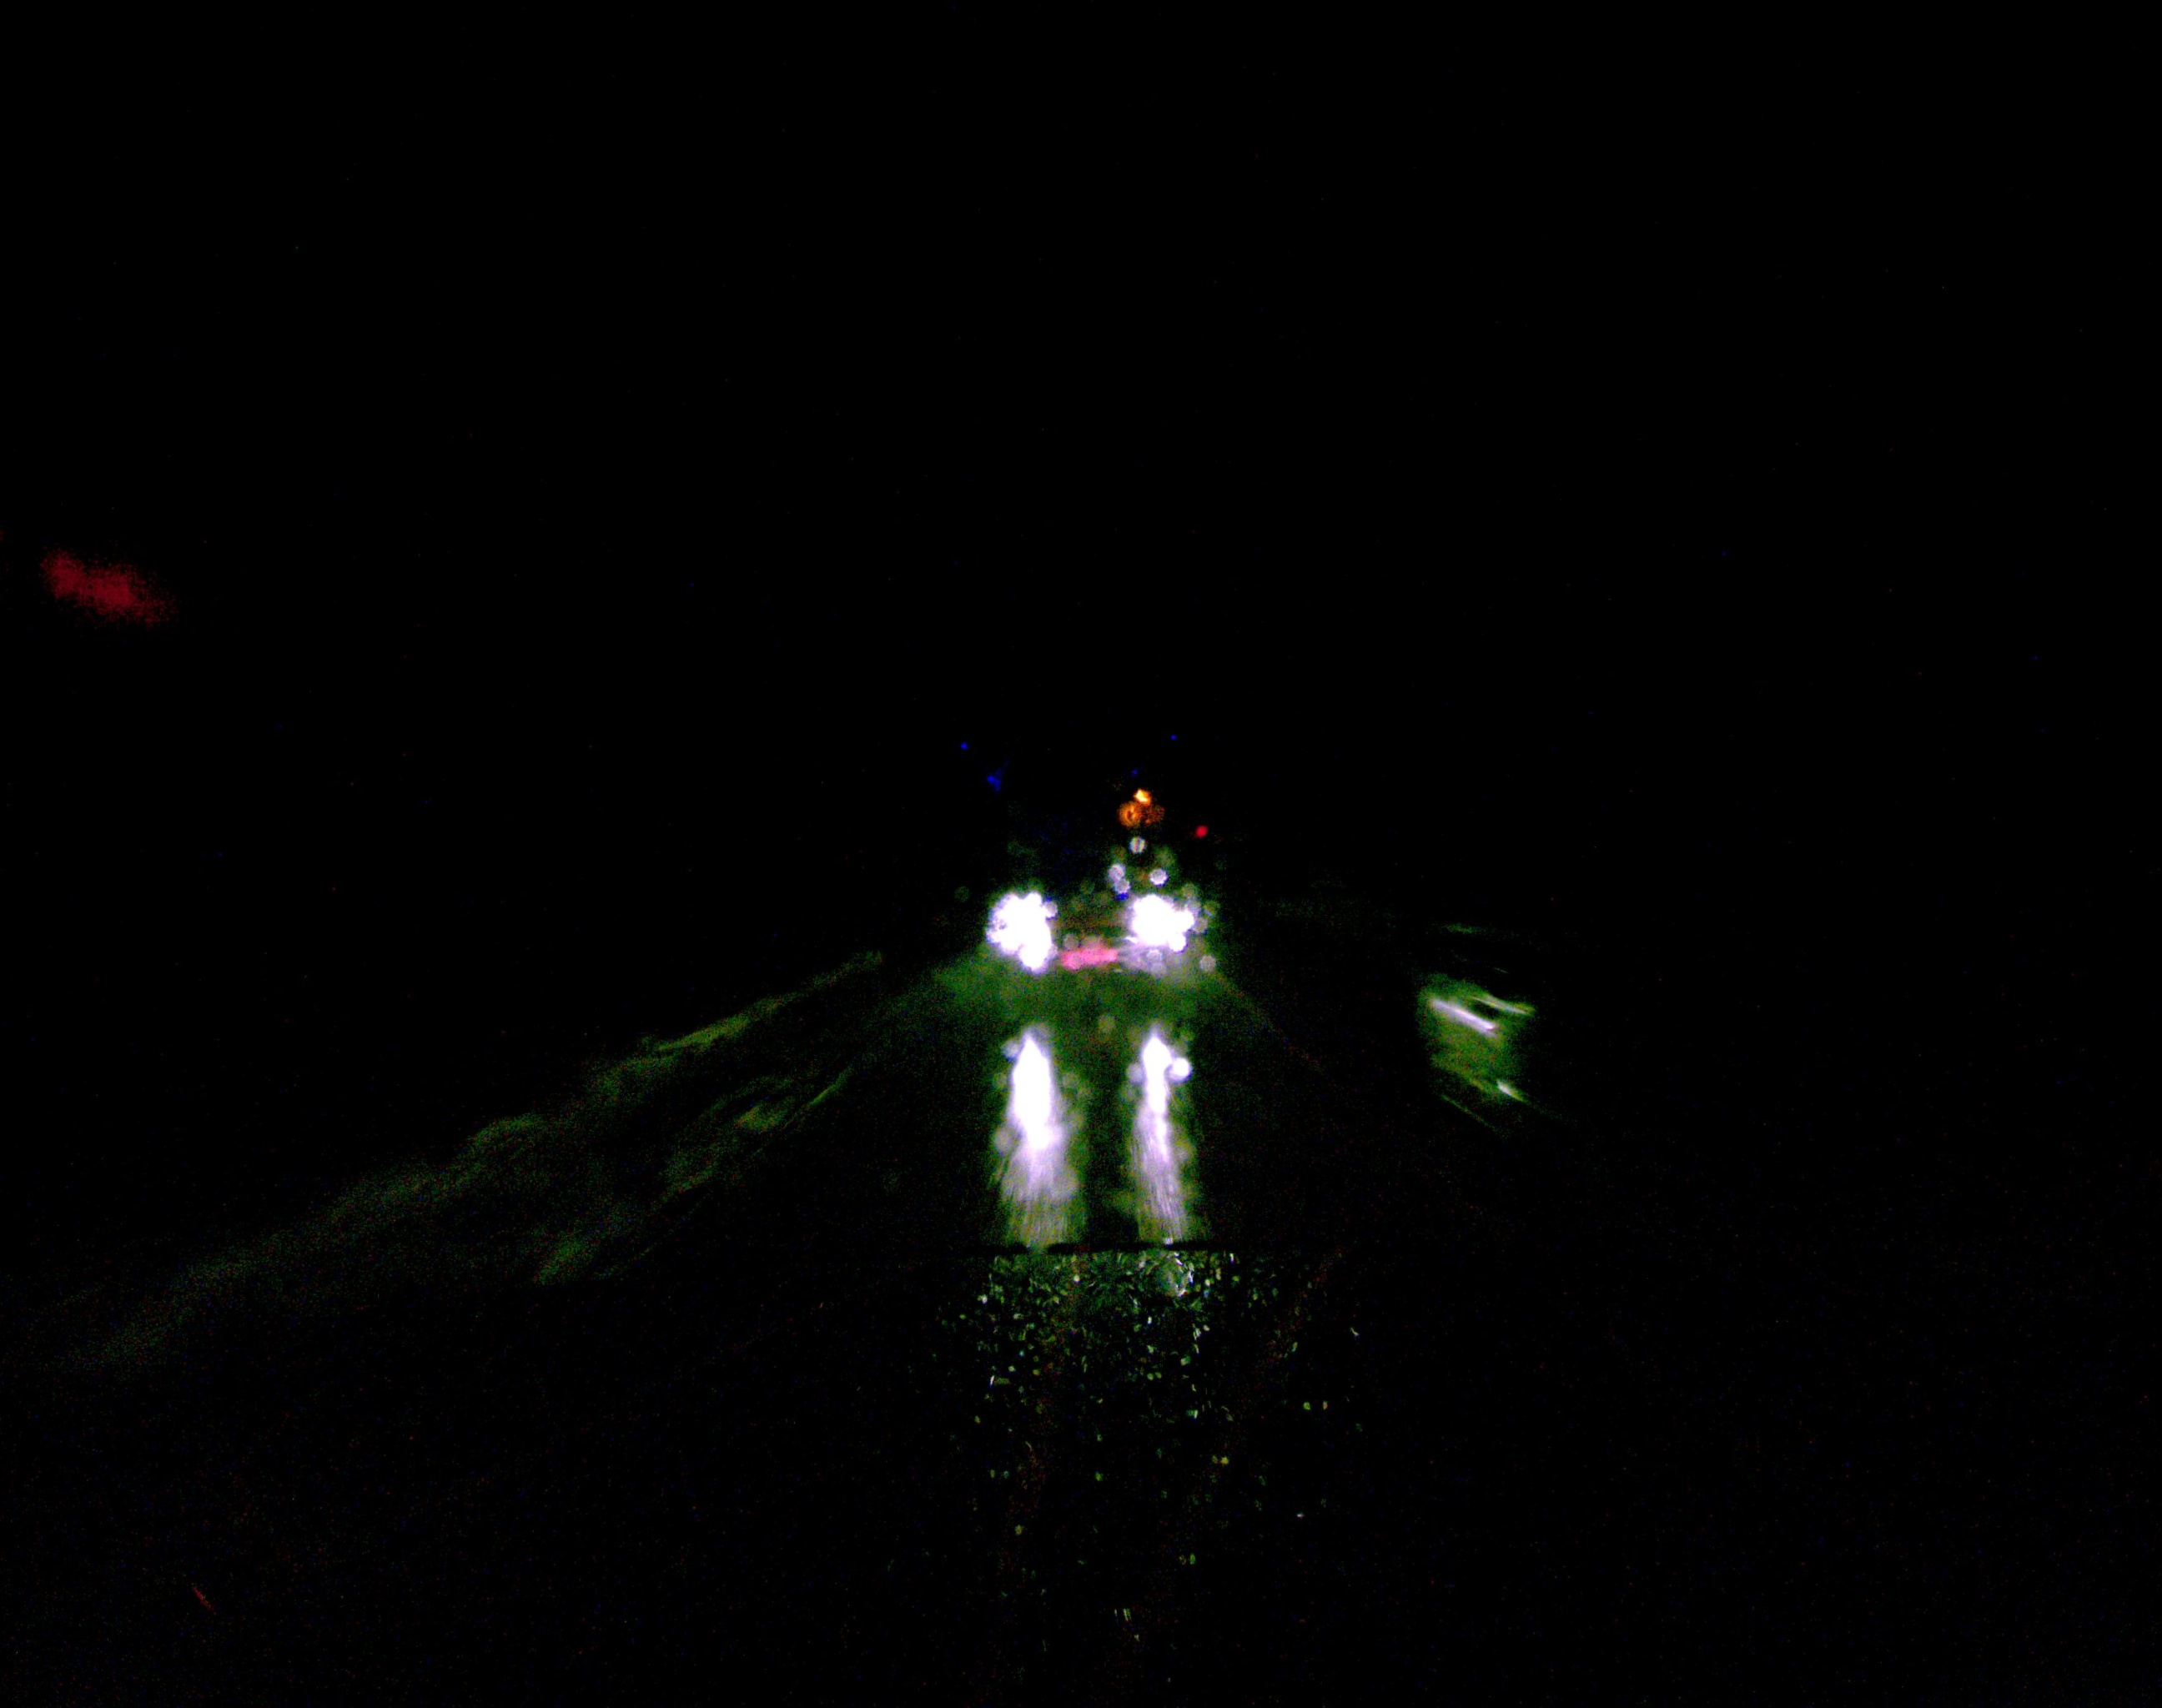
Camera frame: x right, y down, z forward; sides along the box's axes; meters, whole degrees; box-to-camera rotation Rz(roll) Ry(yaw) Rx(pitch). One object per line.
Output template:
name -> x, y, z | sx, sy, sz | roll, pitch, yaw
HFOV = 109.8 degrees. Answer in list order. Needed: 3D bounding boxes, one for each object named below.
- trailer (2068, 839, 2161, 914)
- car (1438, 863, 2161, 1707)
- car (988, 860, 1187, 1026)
trailer -> 33.809, 0.705, 23.274 | 3.801, 2.206, 1.976 | 2, 3, 19
car -> 2.935, 0.907, 2.130 | 1.878, 1.536, 4.355 | 3, 1, 2
car -> 0.143, 0.908, 9.942 | 1.944, 1.580, 4.776 | -1, 0, 2
